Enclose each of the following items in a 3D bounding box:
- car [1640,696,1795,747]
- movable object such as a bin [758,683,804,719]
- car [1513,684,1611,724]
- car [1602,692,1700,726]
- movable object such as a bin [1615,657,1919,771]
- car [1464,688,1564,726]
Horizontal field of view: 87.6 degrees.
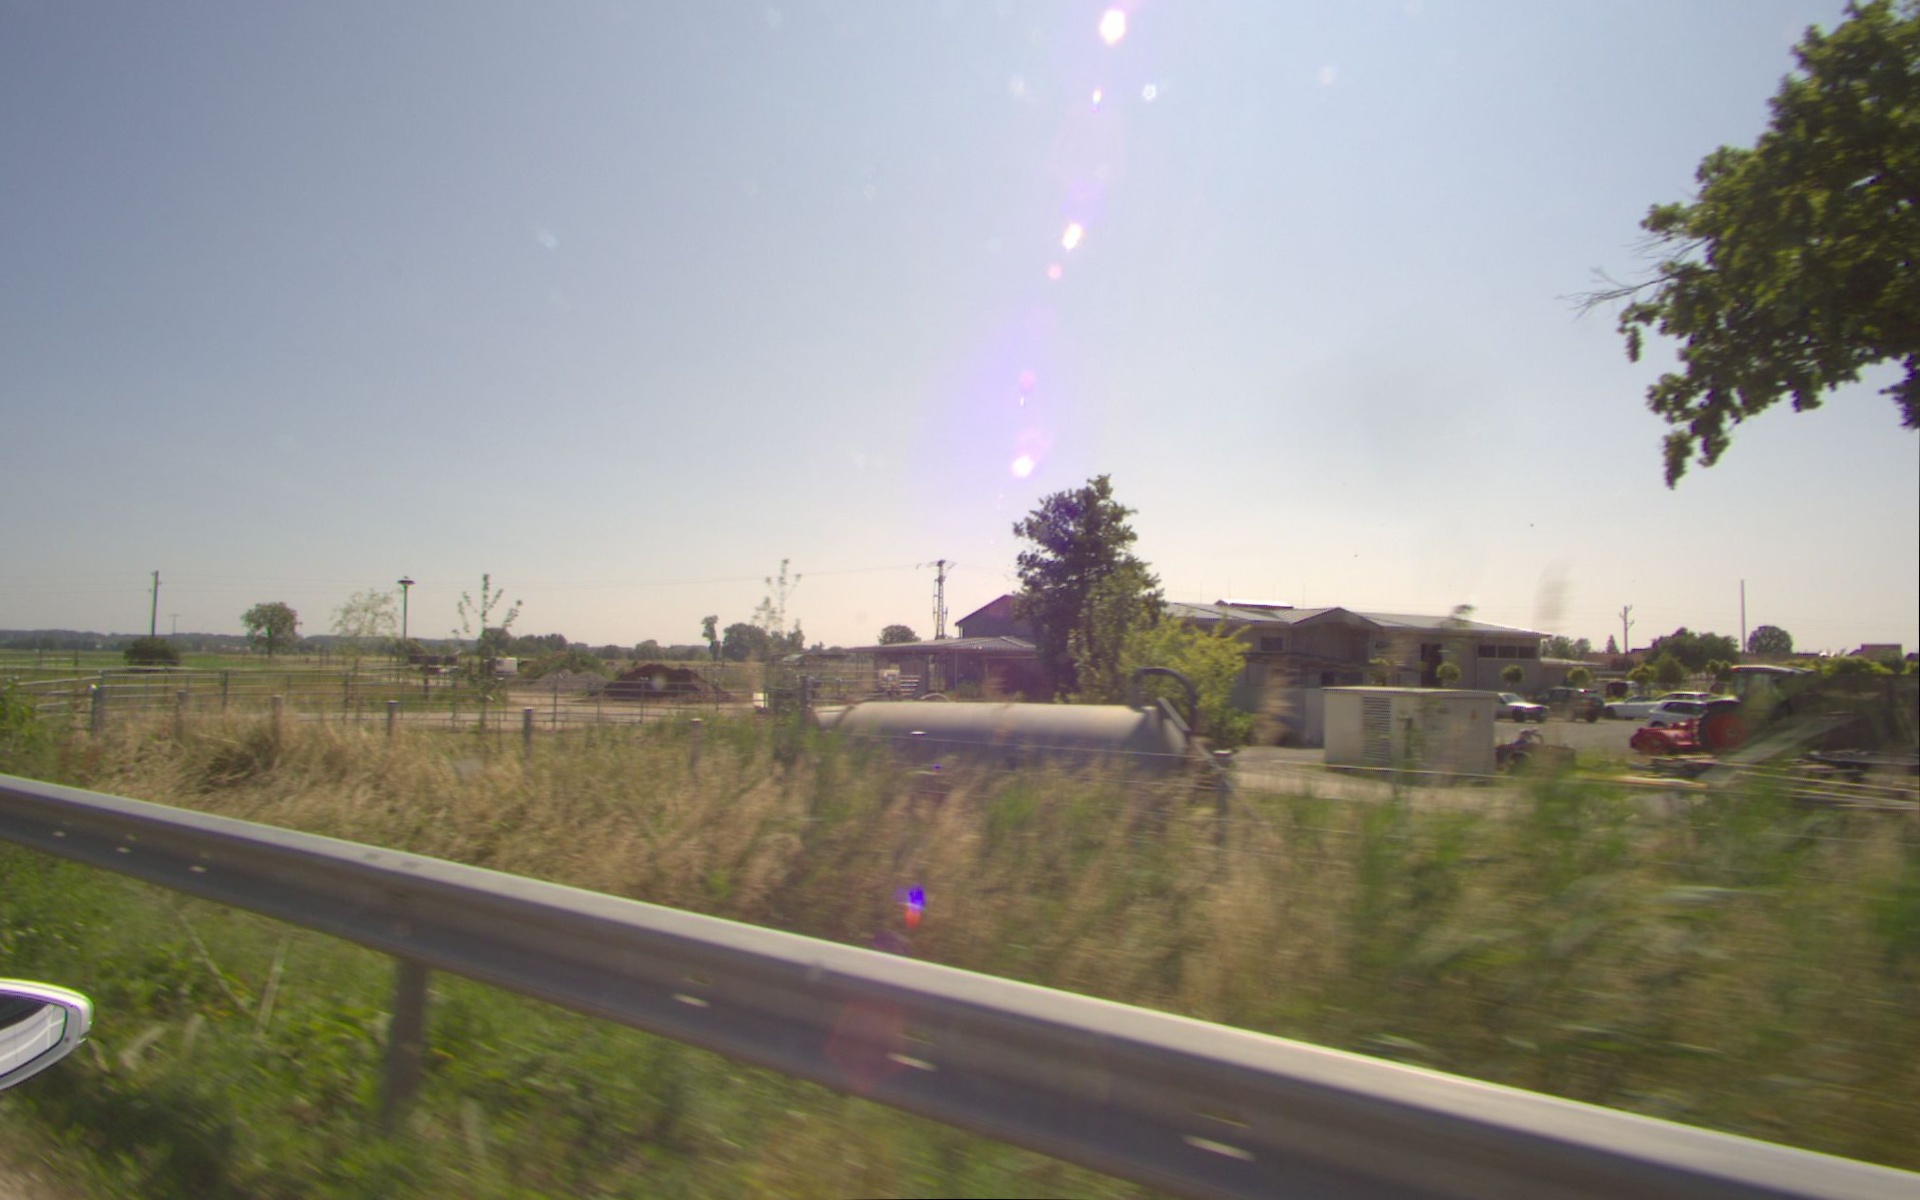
[{"bbox_3d":[27.042,4.379,35.888,1.968,1.591,3.874,1,-9,-23],"label":"car"},{"bbox_3d":[-7.153,4.026,40.059,1.354,1.365,1.510,3,-4,-30],"label":"movable object such as a bin"},{"bbox_3d":[30.134,5.205,50.234,1.886,1.726,3.865,3,-3,-23],"label":"car"},{"bbox_3d":[36.263,5.712,52.654,1.884,1.512,3.869,3,-3,-19],"label":"car"},{"bbox_3d":[22.960,3.118,28.655,2.974,2.803,6.467,5,-5,-33],"label":"movable object such as a bin"},{"bbox_3d":[26.791,5.168,48.564,1.968,1.594,3.865,3,-3,-23],"label":"car"}]
